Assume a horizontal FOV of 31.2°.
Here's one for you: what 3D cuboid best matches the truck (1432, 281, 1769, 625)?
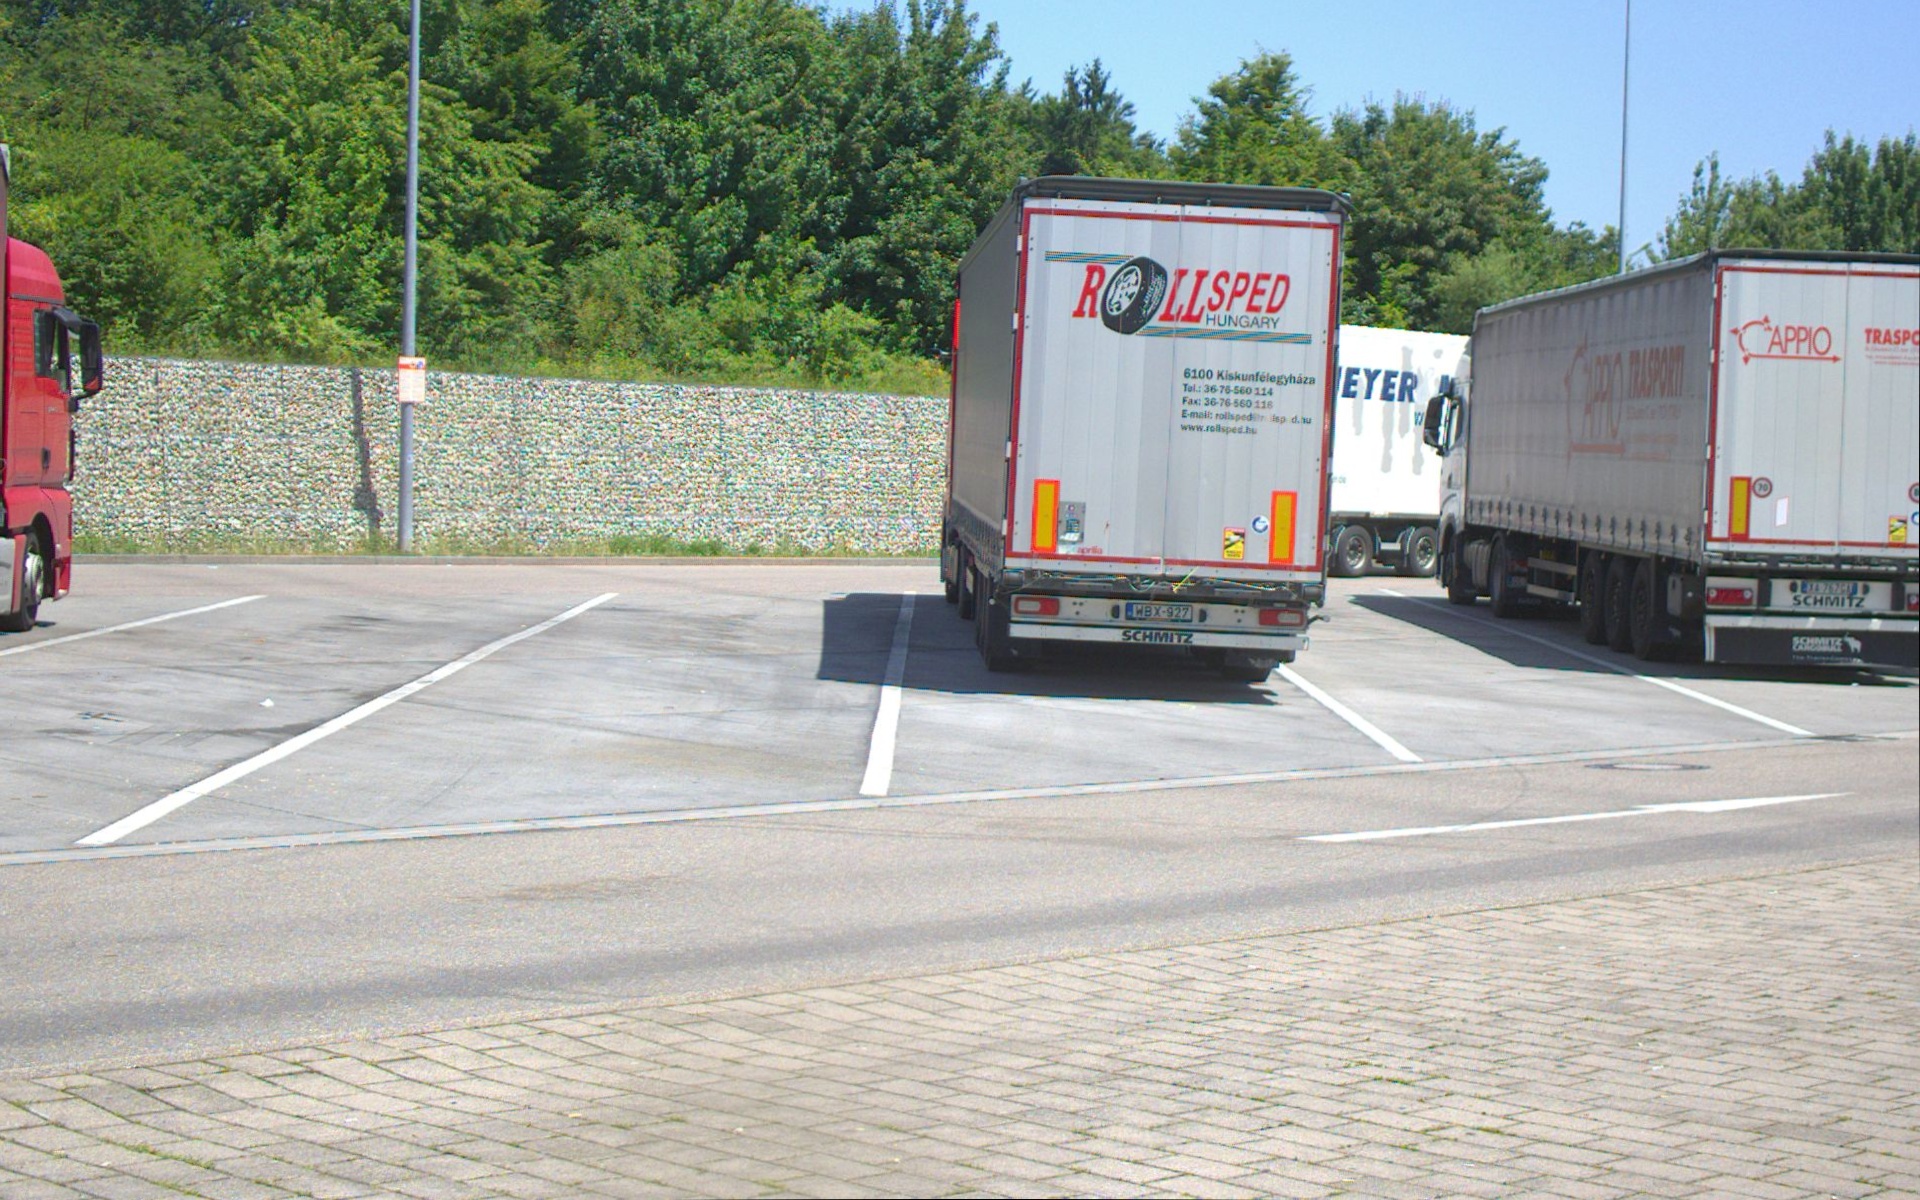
[{"bbox_3d":[8.131,-1.949,44.561,2.866,4.023,6.957,2,3,0],"label":"truck"}]

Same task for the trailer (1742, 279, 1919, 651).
[{"bbox_3d":[11.844,-1.527,38.998,2.866,4.023,12.439,2,3,0],"label":"trailer"}]

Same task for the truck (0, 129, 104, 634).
[{"bbox_3d":[-9.145,-1.811,27.962,2.696,4.099,6.240,2,3,0],"label":"truck"}]

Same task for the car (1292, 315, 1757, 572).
[{"bbox_3d":[10.226,-2.692,61.142,2.687,4.174,10.190,6,5,43],"label":"car"}]

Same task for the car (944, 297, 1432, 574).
[{"bbox_3d":[3.748,-2.532,54.426,2.687,4.030,8.446,6,5,44],"label":"car"}]

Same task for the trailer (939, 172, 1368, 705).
[{"bbox_3d":[1.443,-1.635,33.598,2.866,4.023,14.243,2,3,-2],"label":"trailer"}]

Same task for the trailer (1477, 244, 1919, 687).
[{"bbox_3d":[8.188,-1.567,37.934,2.866,4.023,12.439,2,3,0],"label":"trailer"}]

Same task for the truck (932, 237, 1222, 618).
[{"bbox_3d":[1.232,-2.054,40.677,2.866,4.023,7.028,2,3,-2],"label":"truck"}]
